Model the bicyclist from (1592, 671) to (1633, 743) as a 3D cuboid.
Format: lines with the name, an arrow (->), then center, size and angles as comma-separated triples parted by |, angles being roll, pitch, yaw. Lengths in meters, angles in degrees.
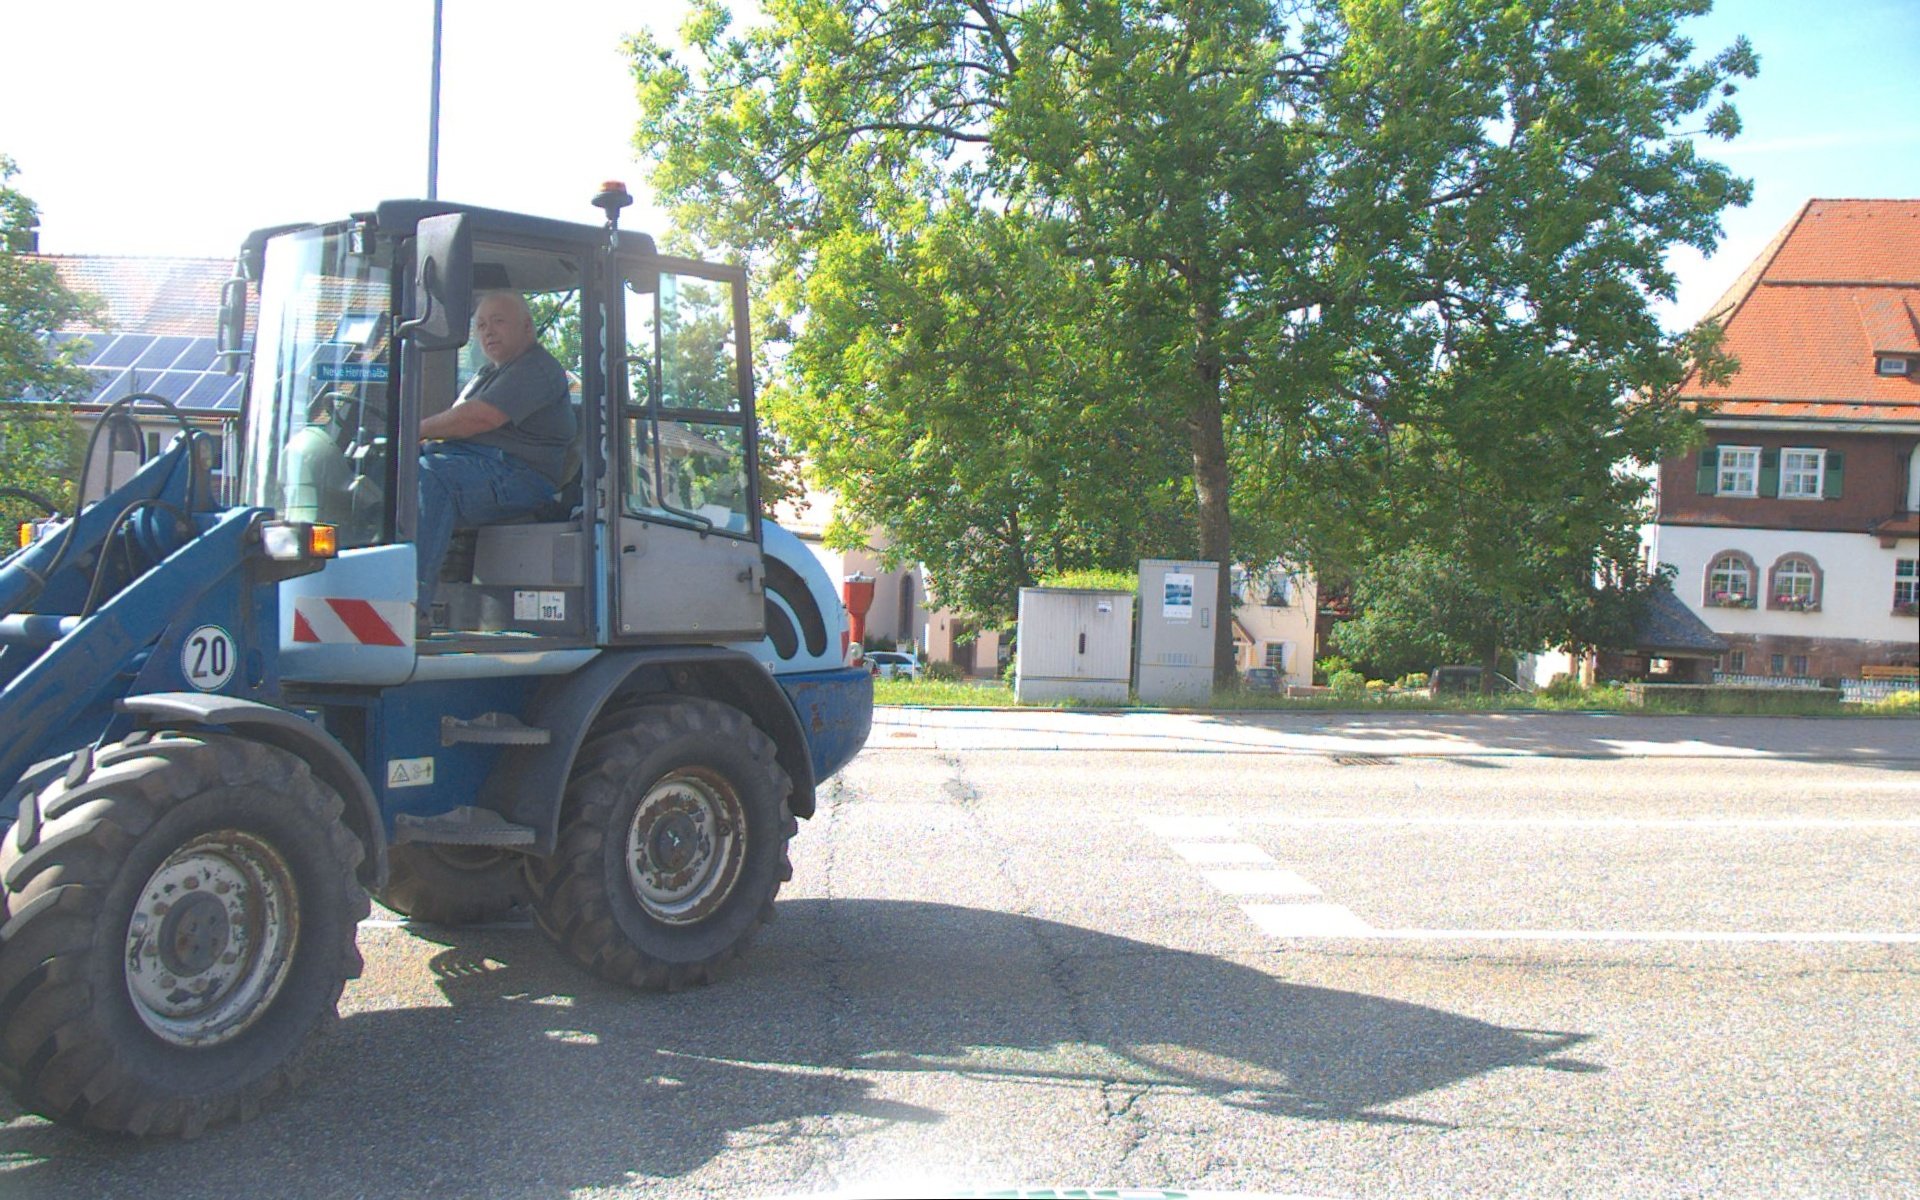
bicyclist -> 18.268, 2.993, 46.316 | 0.973, 1.959, 0.582 | 1, -1, 14

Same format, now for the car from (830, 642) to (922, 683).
car -> -3.481, 2.578, 68.402 | 3.700, 1.621, 1.711 | 1, -1, -7

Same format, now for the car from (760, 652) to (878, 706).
car -> -4.894, 2.735, 57.531 | 4.011, 1.789, 1.711 | 1, -1, -6

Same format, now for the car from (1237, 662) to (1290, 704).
car -> 12.450, 3.390, 68.070 | 1.672, 1.569, 3.787 | 1, 0, 3

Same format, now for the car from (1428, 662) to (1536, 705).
car -> 19.467, 3.106, 61.784 | 3.692, 1.470, 1.715 | 1, -1, 11

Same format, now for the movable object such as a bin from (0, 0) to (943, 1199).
movable object such as a bin -> -2.271, -0.061, 5.155 | 1.958, 2.817, 5.092 | 2, 1, 32
